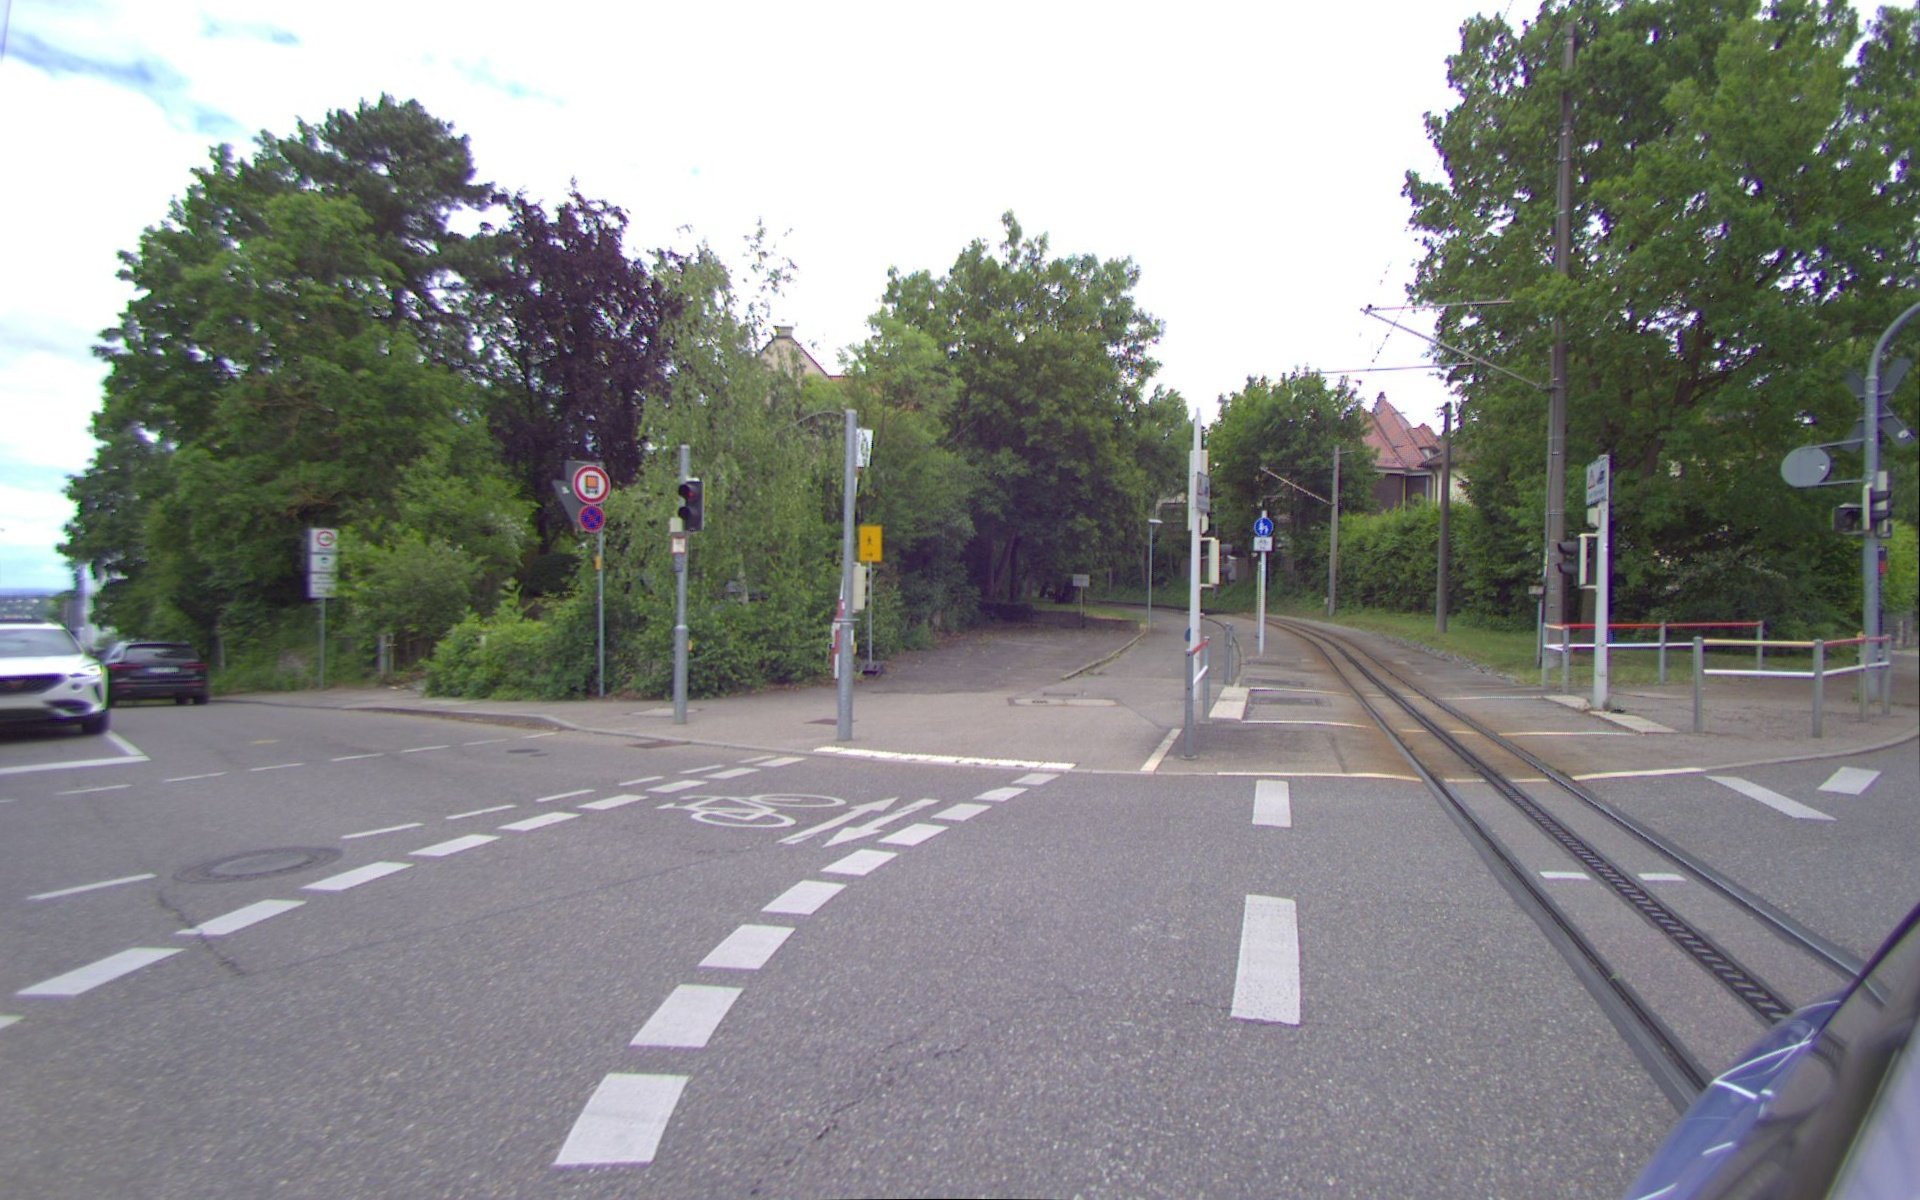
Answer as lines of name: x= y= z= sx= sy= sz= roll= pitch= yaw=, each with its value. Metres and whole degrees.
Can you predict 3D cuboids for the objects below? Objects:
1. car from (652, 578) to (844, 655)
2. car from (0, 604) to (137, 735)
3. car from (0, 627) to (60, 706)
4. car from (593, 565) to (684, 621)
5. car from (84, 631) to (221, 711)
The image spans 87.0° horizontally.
car: x=-4.698 y=0.315 z=22.016 sx=1.967 sy=1.482 sz=4.506 roll=0 pitch=0 yaw=-45
car: x=-12.607 y=0.812 z=13.307 sx=4.498 sy=1.482 sz=1.971 roll=0 pitch=0 yaw=40
car: x=-19.866 y=1.352 z=20.661 sx=4.504 sy=1.482 sz=1.968 roll=-3 pitch=-2 yaw=45
car: x=-10.988 y=-0.248 z=34.869 sx=1.961 sy=1.816 sz=4.001 roll=1 pitch=0 yaw=-1
car: x=-18.409 y=1.529 z=22.994 sx=1.967 sy=1.482 sz=4.506 roll=0 pitch=0 yaw=-45
